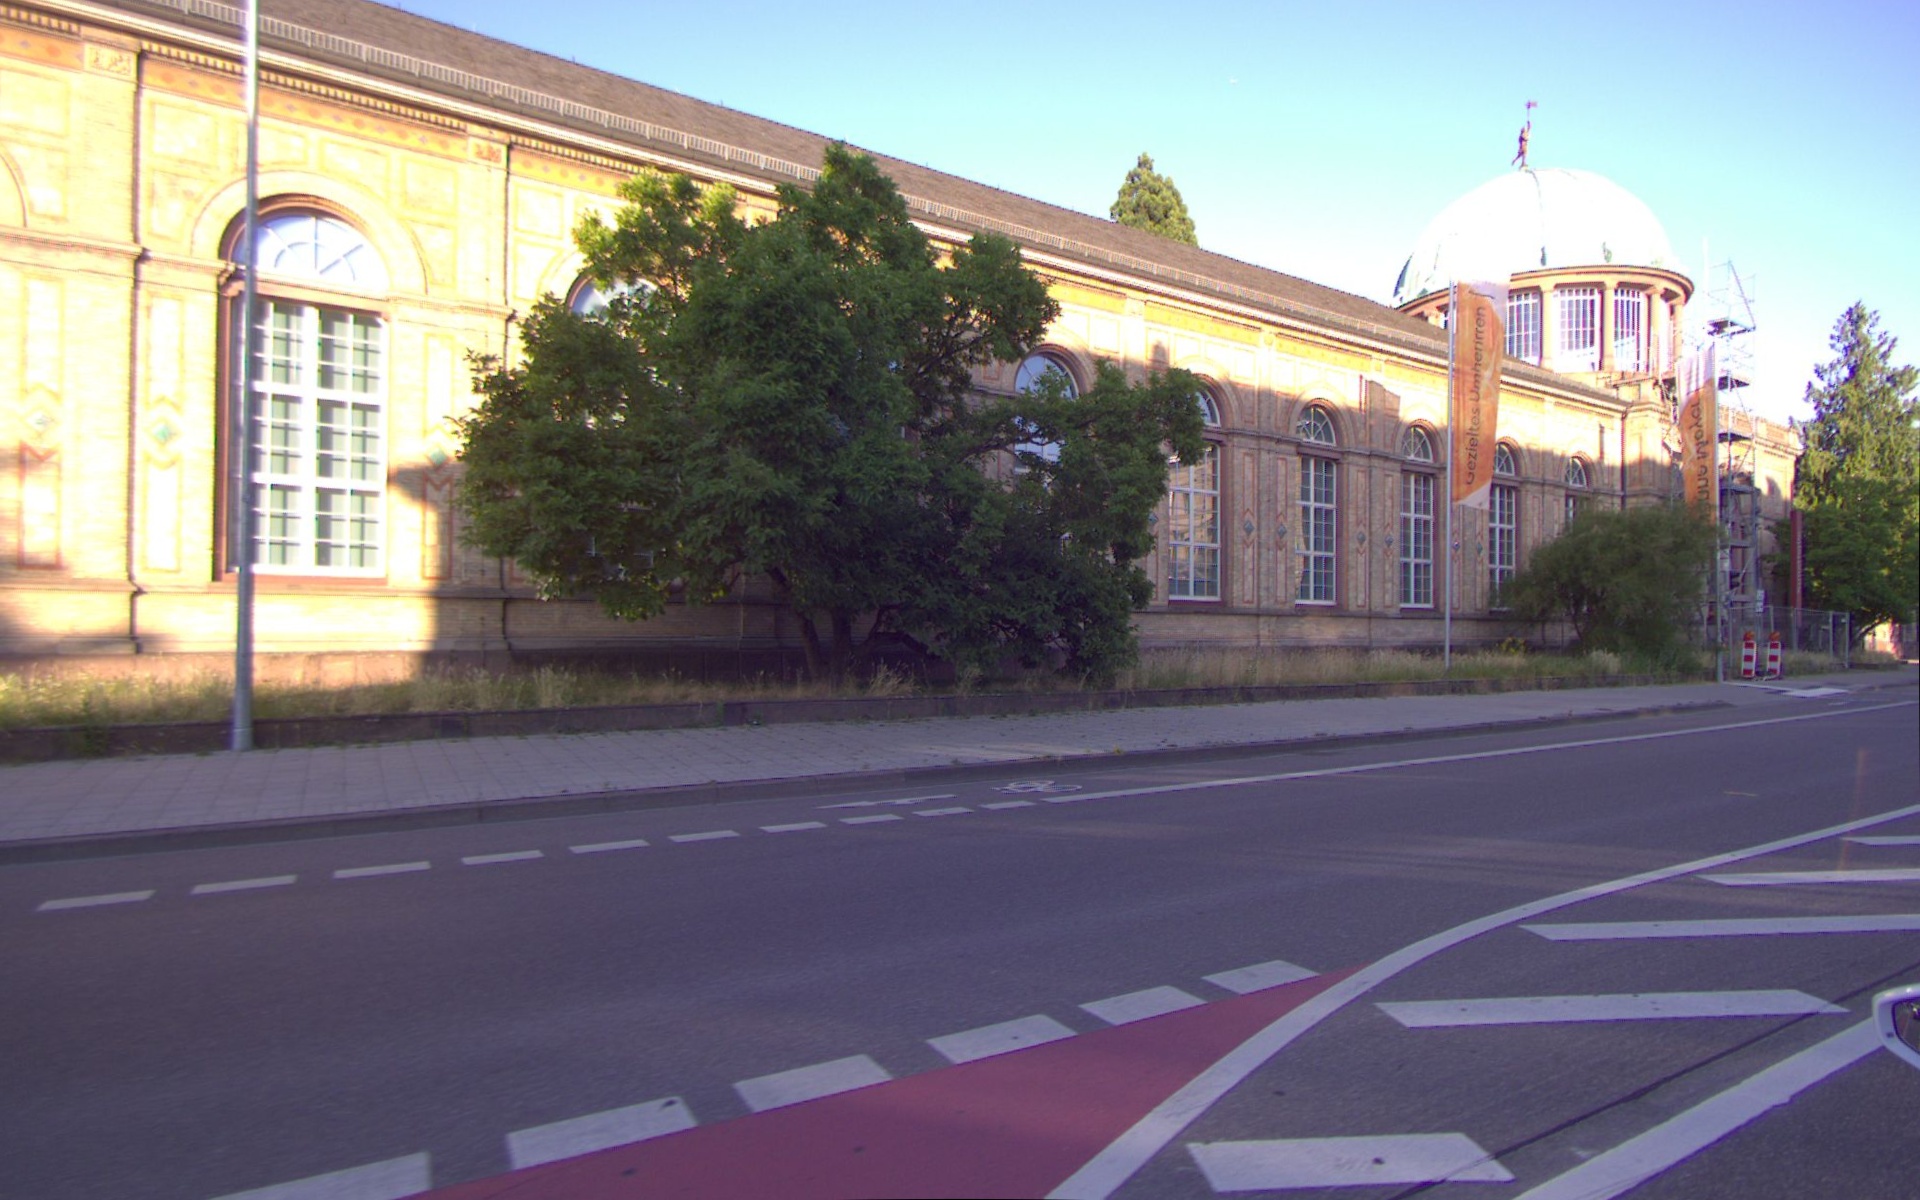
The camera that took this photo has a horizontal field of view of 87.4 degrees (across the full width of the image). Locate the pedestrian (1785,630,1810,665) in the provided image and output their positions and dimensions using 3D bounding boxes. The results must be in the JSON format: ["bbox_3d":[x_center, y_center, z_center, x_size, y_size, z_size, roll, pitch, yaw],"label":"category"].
[{"bbox_3d":[38.941,2.220,46.711,0.756,1.600,0.730,1,-1,-37],"label":"pedestrian"}]
